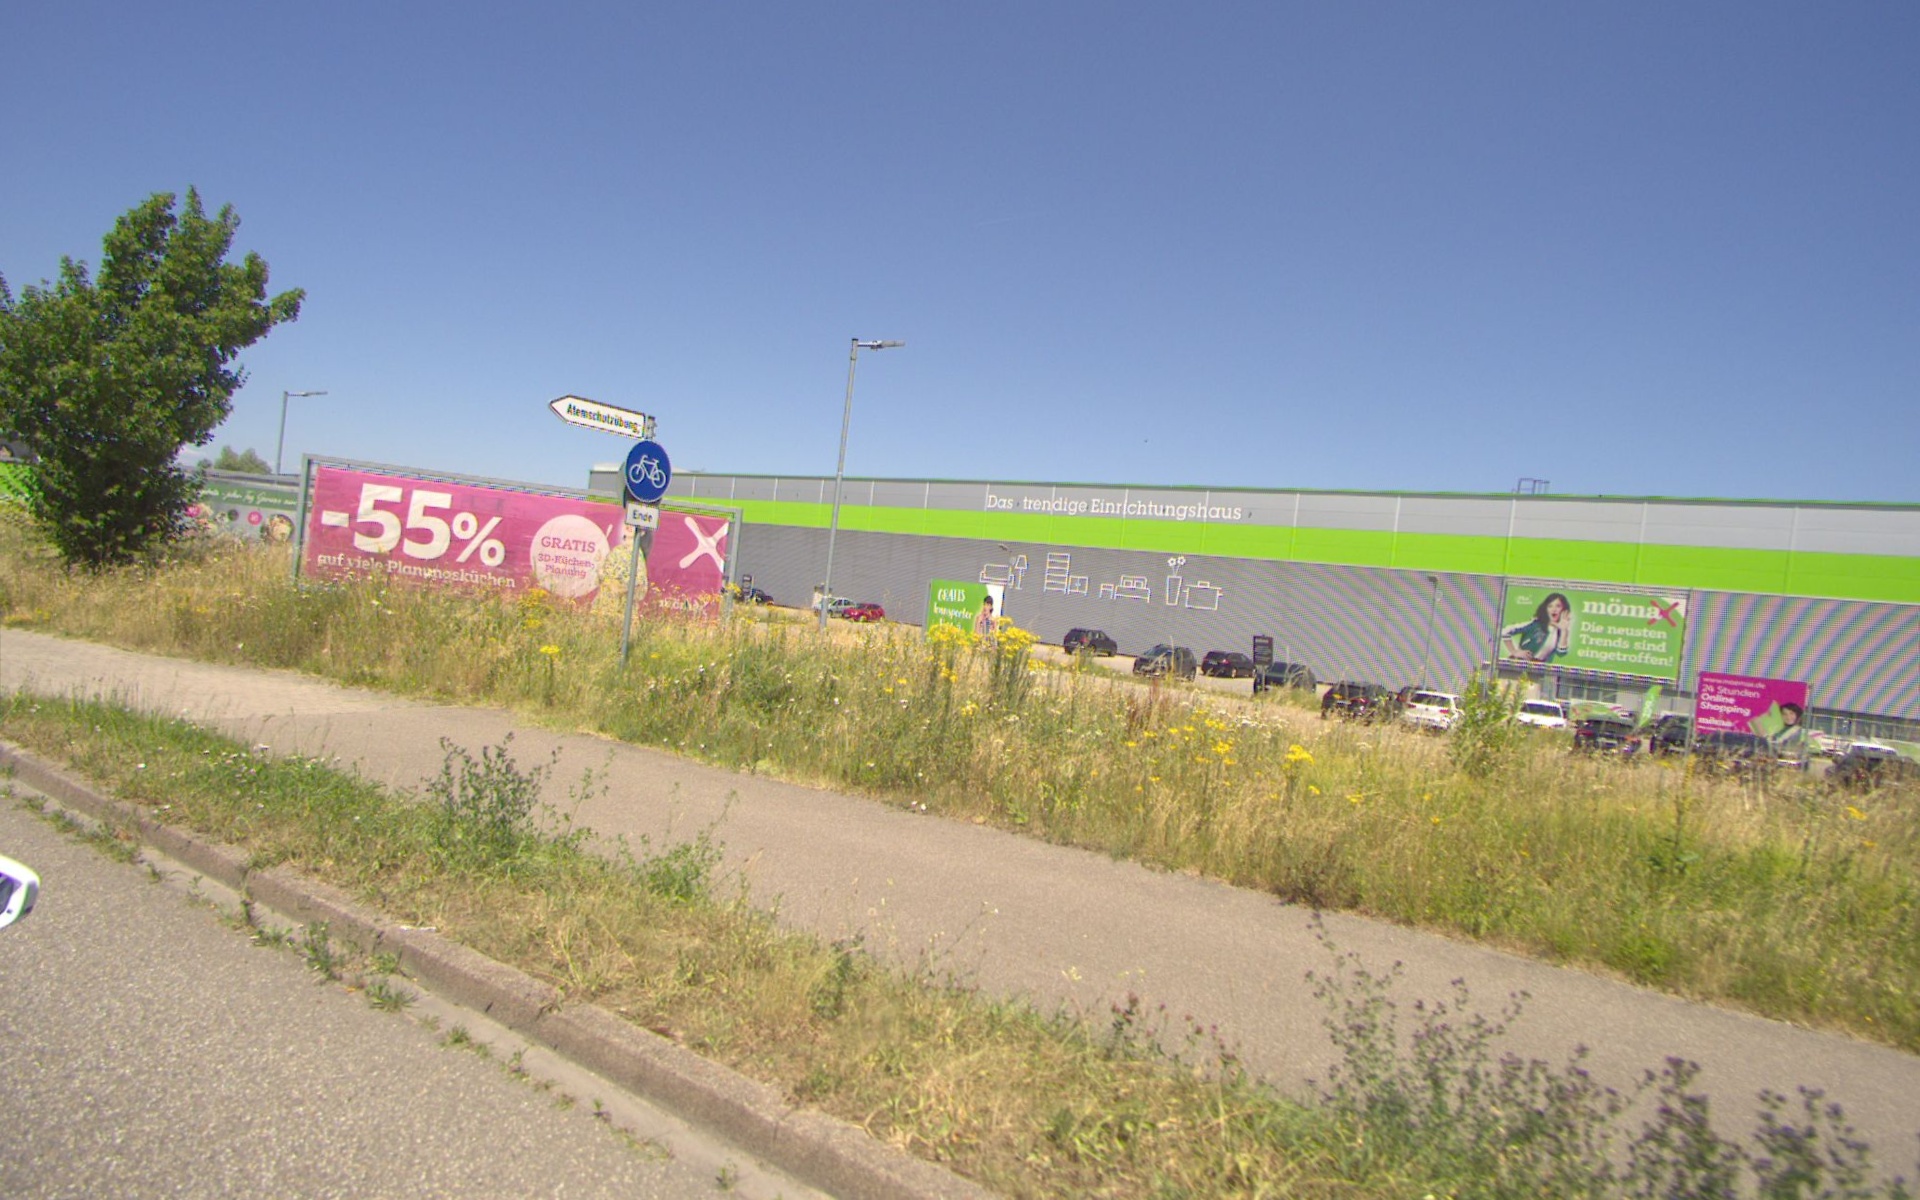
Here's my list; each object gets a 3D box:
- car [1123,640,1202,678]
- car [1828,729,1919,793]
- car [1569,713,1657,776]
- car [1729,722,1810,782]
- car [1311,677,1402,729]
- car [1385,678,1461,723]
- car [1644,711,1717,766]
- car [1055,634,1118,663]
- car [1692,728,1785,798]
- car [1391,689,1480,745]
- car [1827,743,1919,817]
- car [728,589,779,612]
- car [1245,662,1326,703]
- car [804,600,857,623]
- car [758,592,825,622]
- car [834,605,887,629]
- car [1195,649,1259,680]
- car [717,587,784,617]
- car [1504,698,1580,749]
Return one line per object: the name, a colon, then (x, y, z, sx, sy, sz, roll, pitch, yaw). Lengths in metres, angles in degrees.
car: (9.943, 2.896, 49.098, 1.970, 1.538, 4.405, 5, -1, 37)
car: (30.054, 5.218, 33.075, 1.918, 1.524, 3.984, 6, 0, 37)
car: (20.620, 4.474, 31.694, 1.918, 1.480, 3.984, 6, 0, 37)
car: (27.658, 5.151, 34.469, 1.918, 1.524, 3.984, 6, 0, 37)
car: (14.331, 3.666, 36.253, 1.918, 1.550, 3.984, 6, 0, 37)
car: (19.041, 4.066, 41.291, 1.918, 1.524, 3.984, 6, 0, 37)
car: (26.043, 4.942, 36.302, 1.918, 1.524, 3.984, 6, 0, 37)
car: (8.255, 3.149, 65.156, 1.970, 1.538, 4.651, 5, -1, 36)
car: (22.894, 4.737, 29.667, 1.918, 1.480, 3.984, 6, 0, 37)
car: (16.570, 4.009, 34.967, 1.918, 1.550, 3.984, 6, 0, 37)
car: (25.686, 4.981, 28.065, 1.887, 1.480, 3.984, 6, 0, 37)
car: (-17.527, 0.046, 85.626, 1.968, 1.538, 3.990, 5, -1, 32)
car: (14.449, 3.655, 44.532, 1.970, 1.538, 4.405, 5, -1, 37)
car: (-10.251, 0.947, 79.713, 1.968, 1.493, 3.990, 5, -1, 32)
car: (-10.771, 0.450, 64.542, 1.968, 1.538, 3.990, 5, -1, 32)
car: (-7.654, 1.356, 78.069, 1.968, 1.538, 3.990, 5, -1, 32)
car: (15.571, 3.769, 58.545, 1.970, 1.538, 4.651, 5, -1, 36)
car: (-13.508, 0.144, 65.112, 1.968, 1.538, 3.990, 5, -1, 32)
car: (22.279, 4.649, 38.423, 1.918, 1.524, 3.984, 6, 0, 37)
